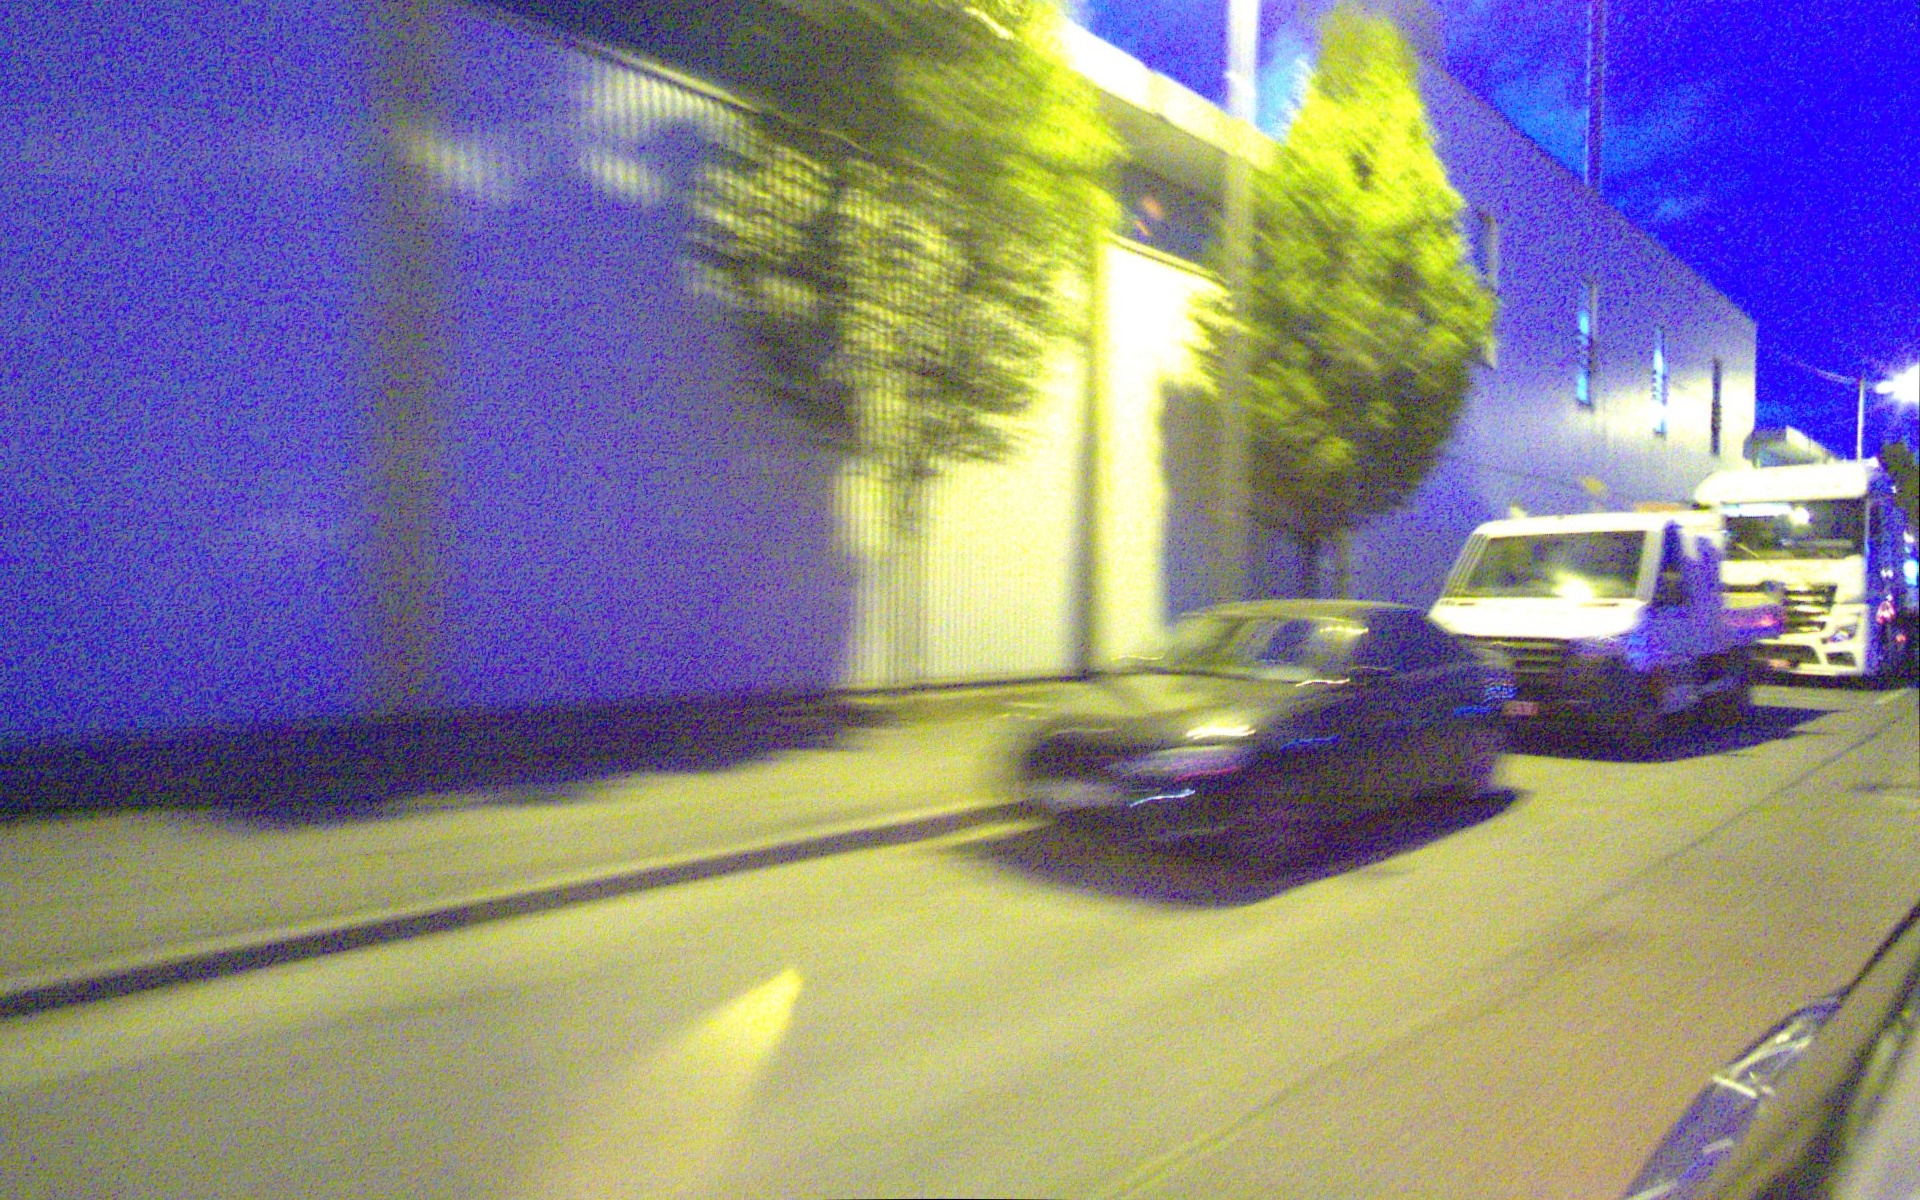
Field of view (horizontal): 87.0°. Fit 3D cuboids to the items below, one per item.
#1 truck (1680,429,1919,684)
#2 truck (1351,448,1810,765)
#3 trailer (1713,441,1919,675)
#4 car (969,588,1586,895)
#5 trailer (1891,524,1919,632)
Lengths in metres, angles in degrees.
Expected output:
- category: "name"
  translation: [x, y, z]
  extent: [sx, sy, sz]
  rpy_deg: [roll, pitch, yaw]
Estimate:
- category: "truck"
  translation: [15.146, -0.693, 17.886]
  extent: [5.137, 3.811, 2.770]
  rpy_deg: [-1, 0, -41]
- category: "truck"
  translation: [7.224, 0.004, 11.376]
  extent: [6.479, 2.626, 2.407]
  rpy_deg: [-1, 1, -39]
- category: "trailer"
  translation: [20.236, -0.817, 22.281]
  extent: [14.400, 3.811, 2.770]
  rpy_deg: [-1, 0, -41]
- category: "car"
  translation: [2.474, 0.669, 7.035]
  extent: [4.823, 1.425, 1.832]
  rpy_deg: [-1, -1, -41]
- category: "trailer"
  translation: [35.317, -0.721, 35.533]
  extent: [8.138, 3.568, 2.884]
  rpy_deg: [-1, 2, -41]
